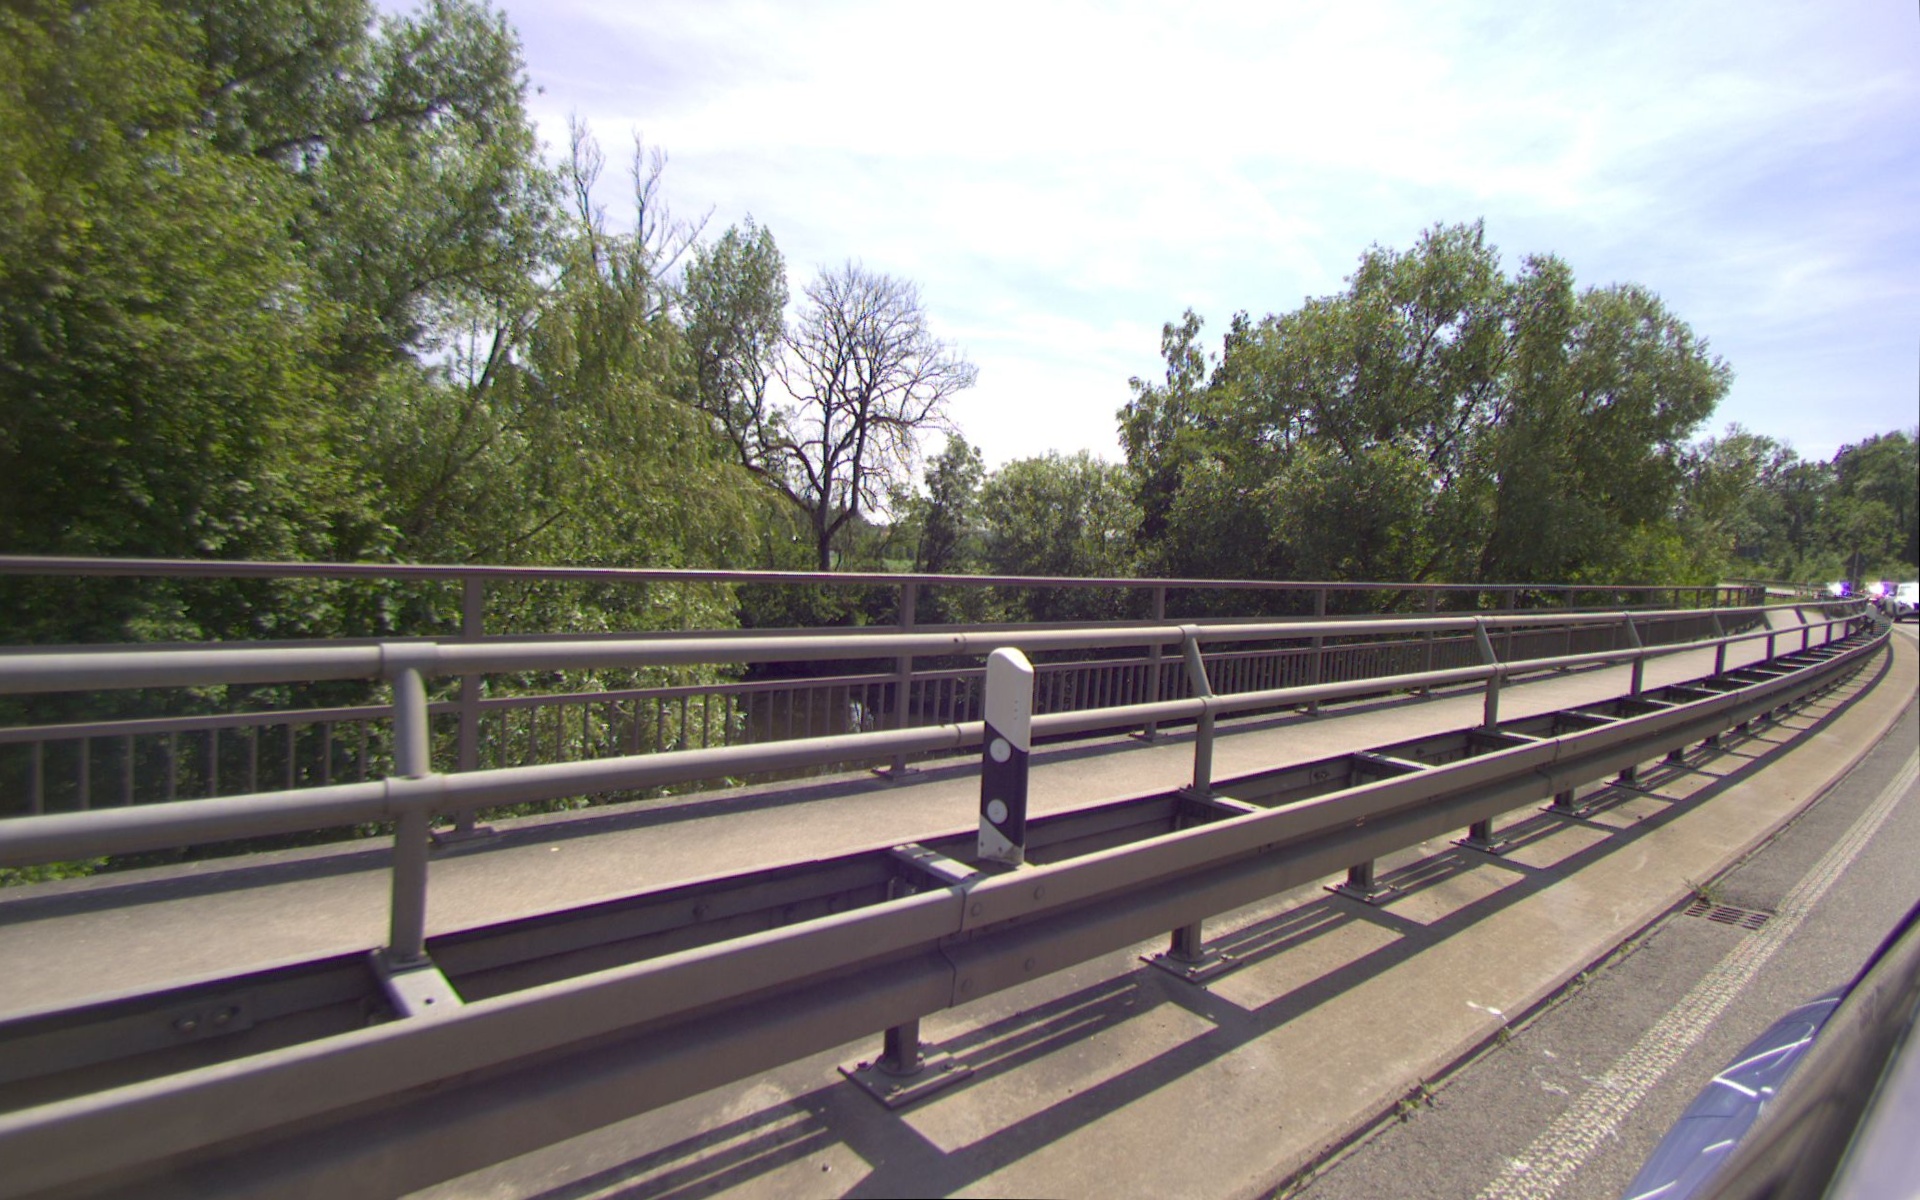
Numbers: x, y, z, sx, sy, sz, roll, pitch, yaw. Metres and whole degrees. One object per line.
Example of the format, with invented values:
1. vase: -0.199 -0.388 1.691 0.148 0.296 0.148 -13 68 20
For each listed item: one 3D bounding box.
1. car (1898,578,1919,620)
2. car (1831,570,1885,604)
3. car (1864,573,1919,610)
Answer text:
1. car: 40.369 -0.067 41.839 1.900 1.668 3.898 0 1 37
2. car: 55.893 -0.829 63.038 1.986 2.039 3.951 0 1 34
3. car: 47.172 -0.457 50.935 1.987 1.797 3.950 1 2 35
